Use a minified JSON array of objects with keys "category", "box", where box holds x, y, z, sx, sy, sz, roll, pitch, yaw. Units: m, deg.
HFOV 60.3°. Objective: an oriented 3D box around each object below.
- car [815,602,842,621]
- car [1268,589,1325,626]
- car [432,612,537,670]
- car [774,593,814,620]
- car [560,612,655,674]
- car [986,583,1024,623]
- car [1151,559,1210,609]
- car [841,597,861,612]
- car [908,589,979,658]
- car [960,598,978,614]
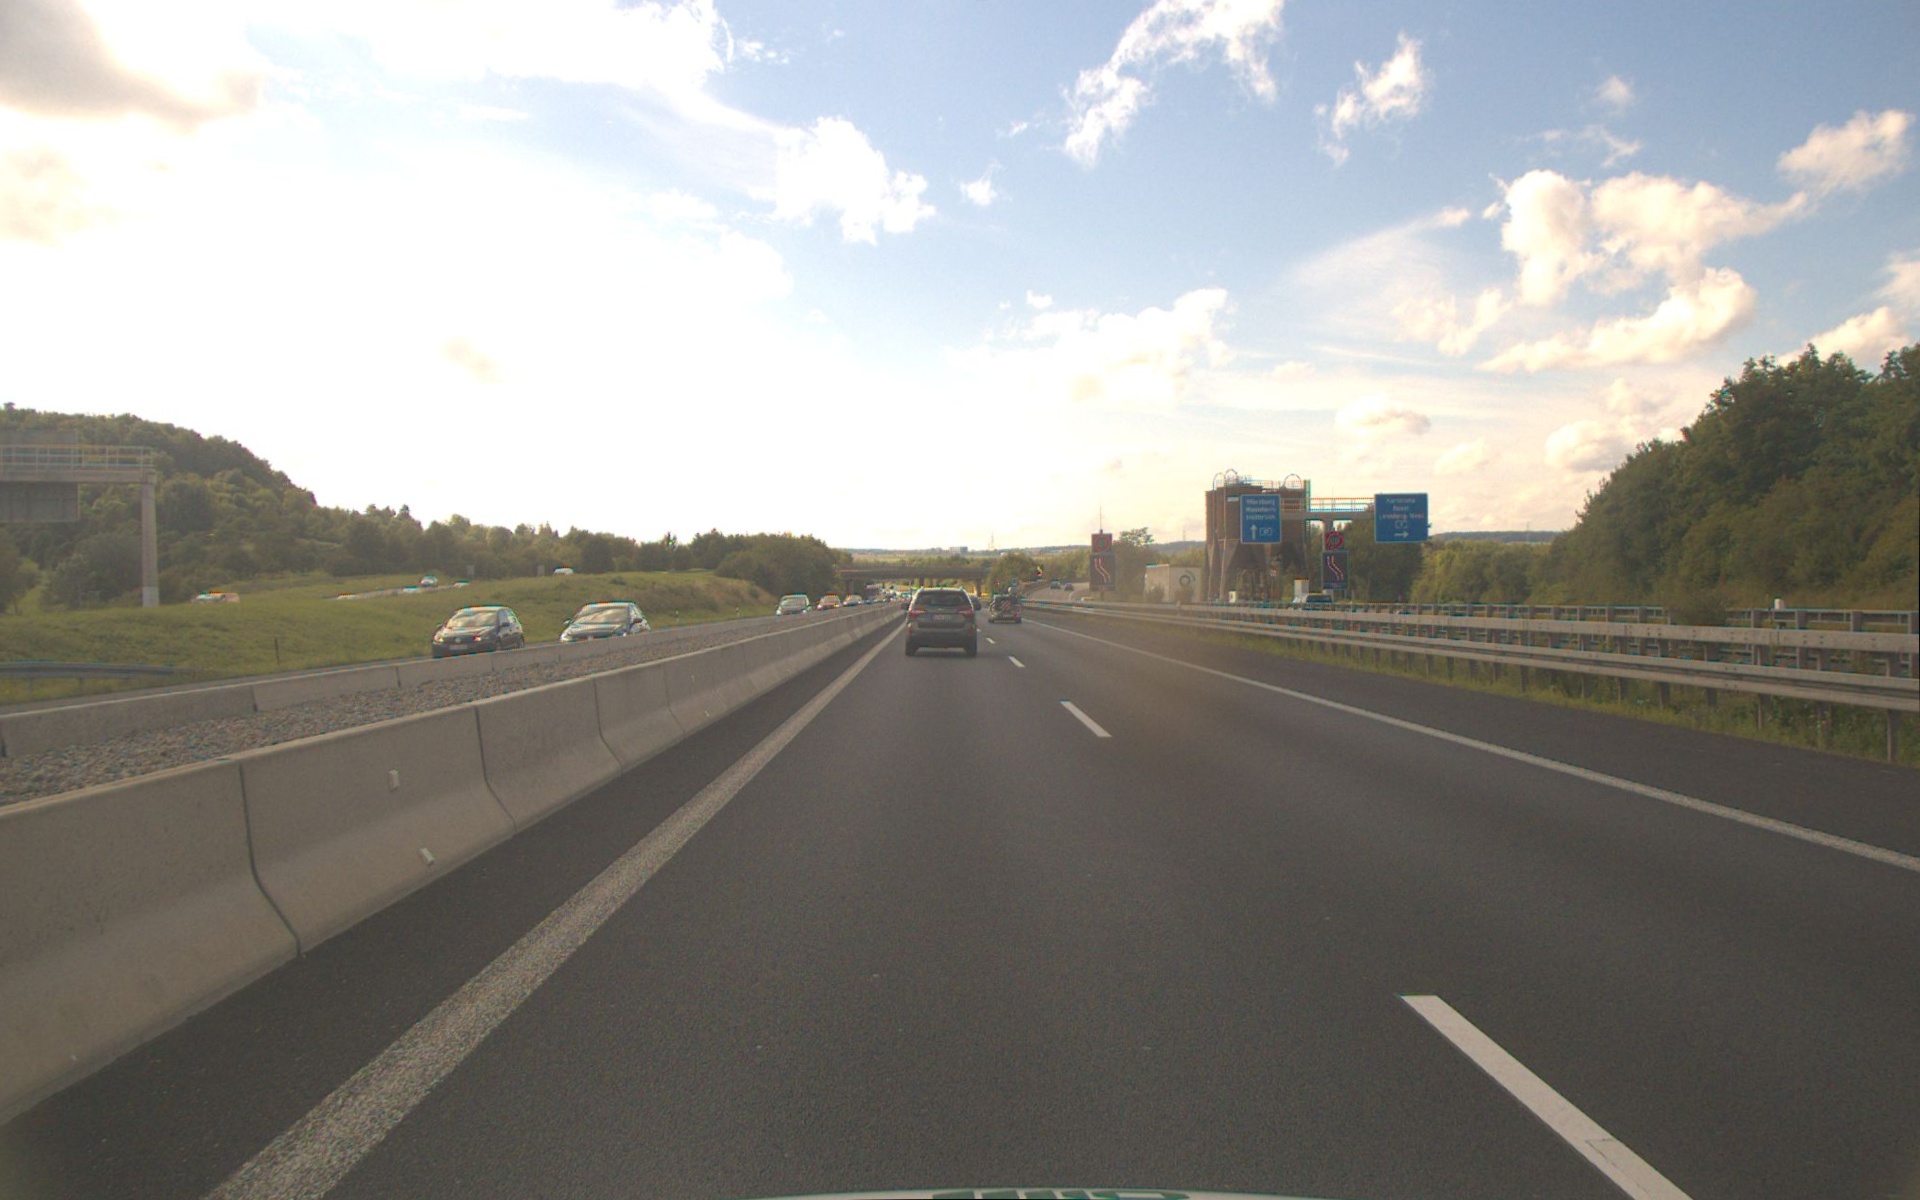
[{"category":"car","box":[-10.242,0.890,129.332,1.751,1.422,4.798,-2,0,-1]},{"category":"car","box":[16.814,0.361,82.726,1.953,1.747,3.999,-2,0,-1]},{"category":"car","box":[-12.991,1.085,45.411,1.692,1.422,4.157,-2,0,-1]},{"category":"car","box":[-9.262,0.343,92.456,1.751,1.422,4.724,-2,0,-1]},{"category":"car","box":[-8.893,1.065,41.989,1.608,1.422,3.741,-2,0,-1]},{"category":"car","box":[2.517,0.162,93.256,1.953,2.117,3.999,-2,0,-1]},{"category":"car","box":[17.600,-1.243,132.600,3.504,3.741,7.547,-2,0,-1]},{"category":"car","box":[-11.143,0.442,169.784,1.751,1.422,4.622,-2,0,-1]},{"category":"car","box":[-0.398,0.584,42.856,1.714,1.659,3.609,-2,0,1]},{"category":"car","box":[1.063,0.696,196.417,1.935,1.810,4.119,-2,0,-1]}]
